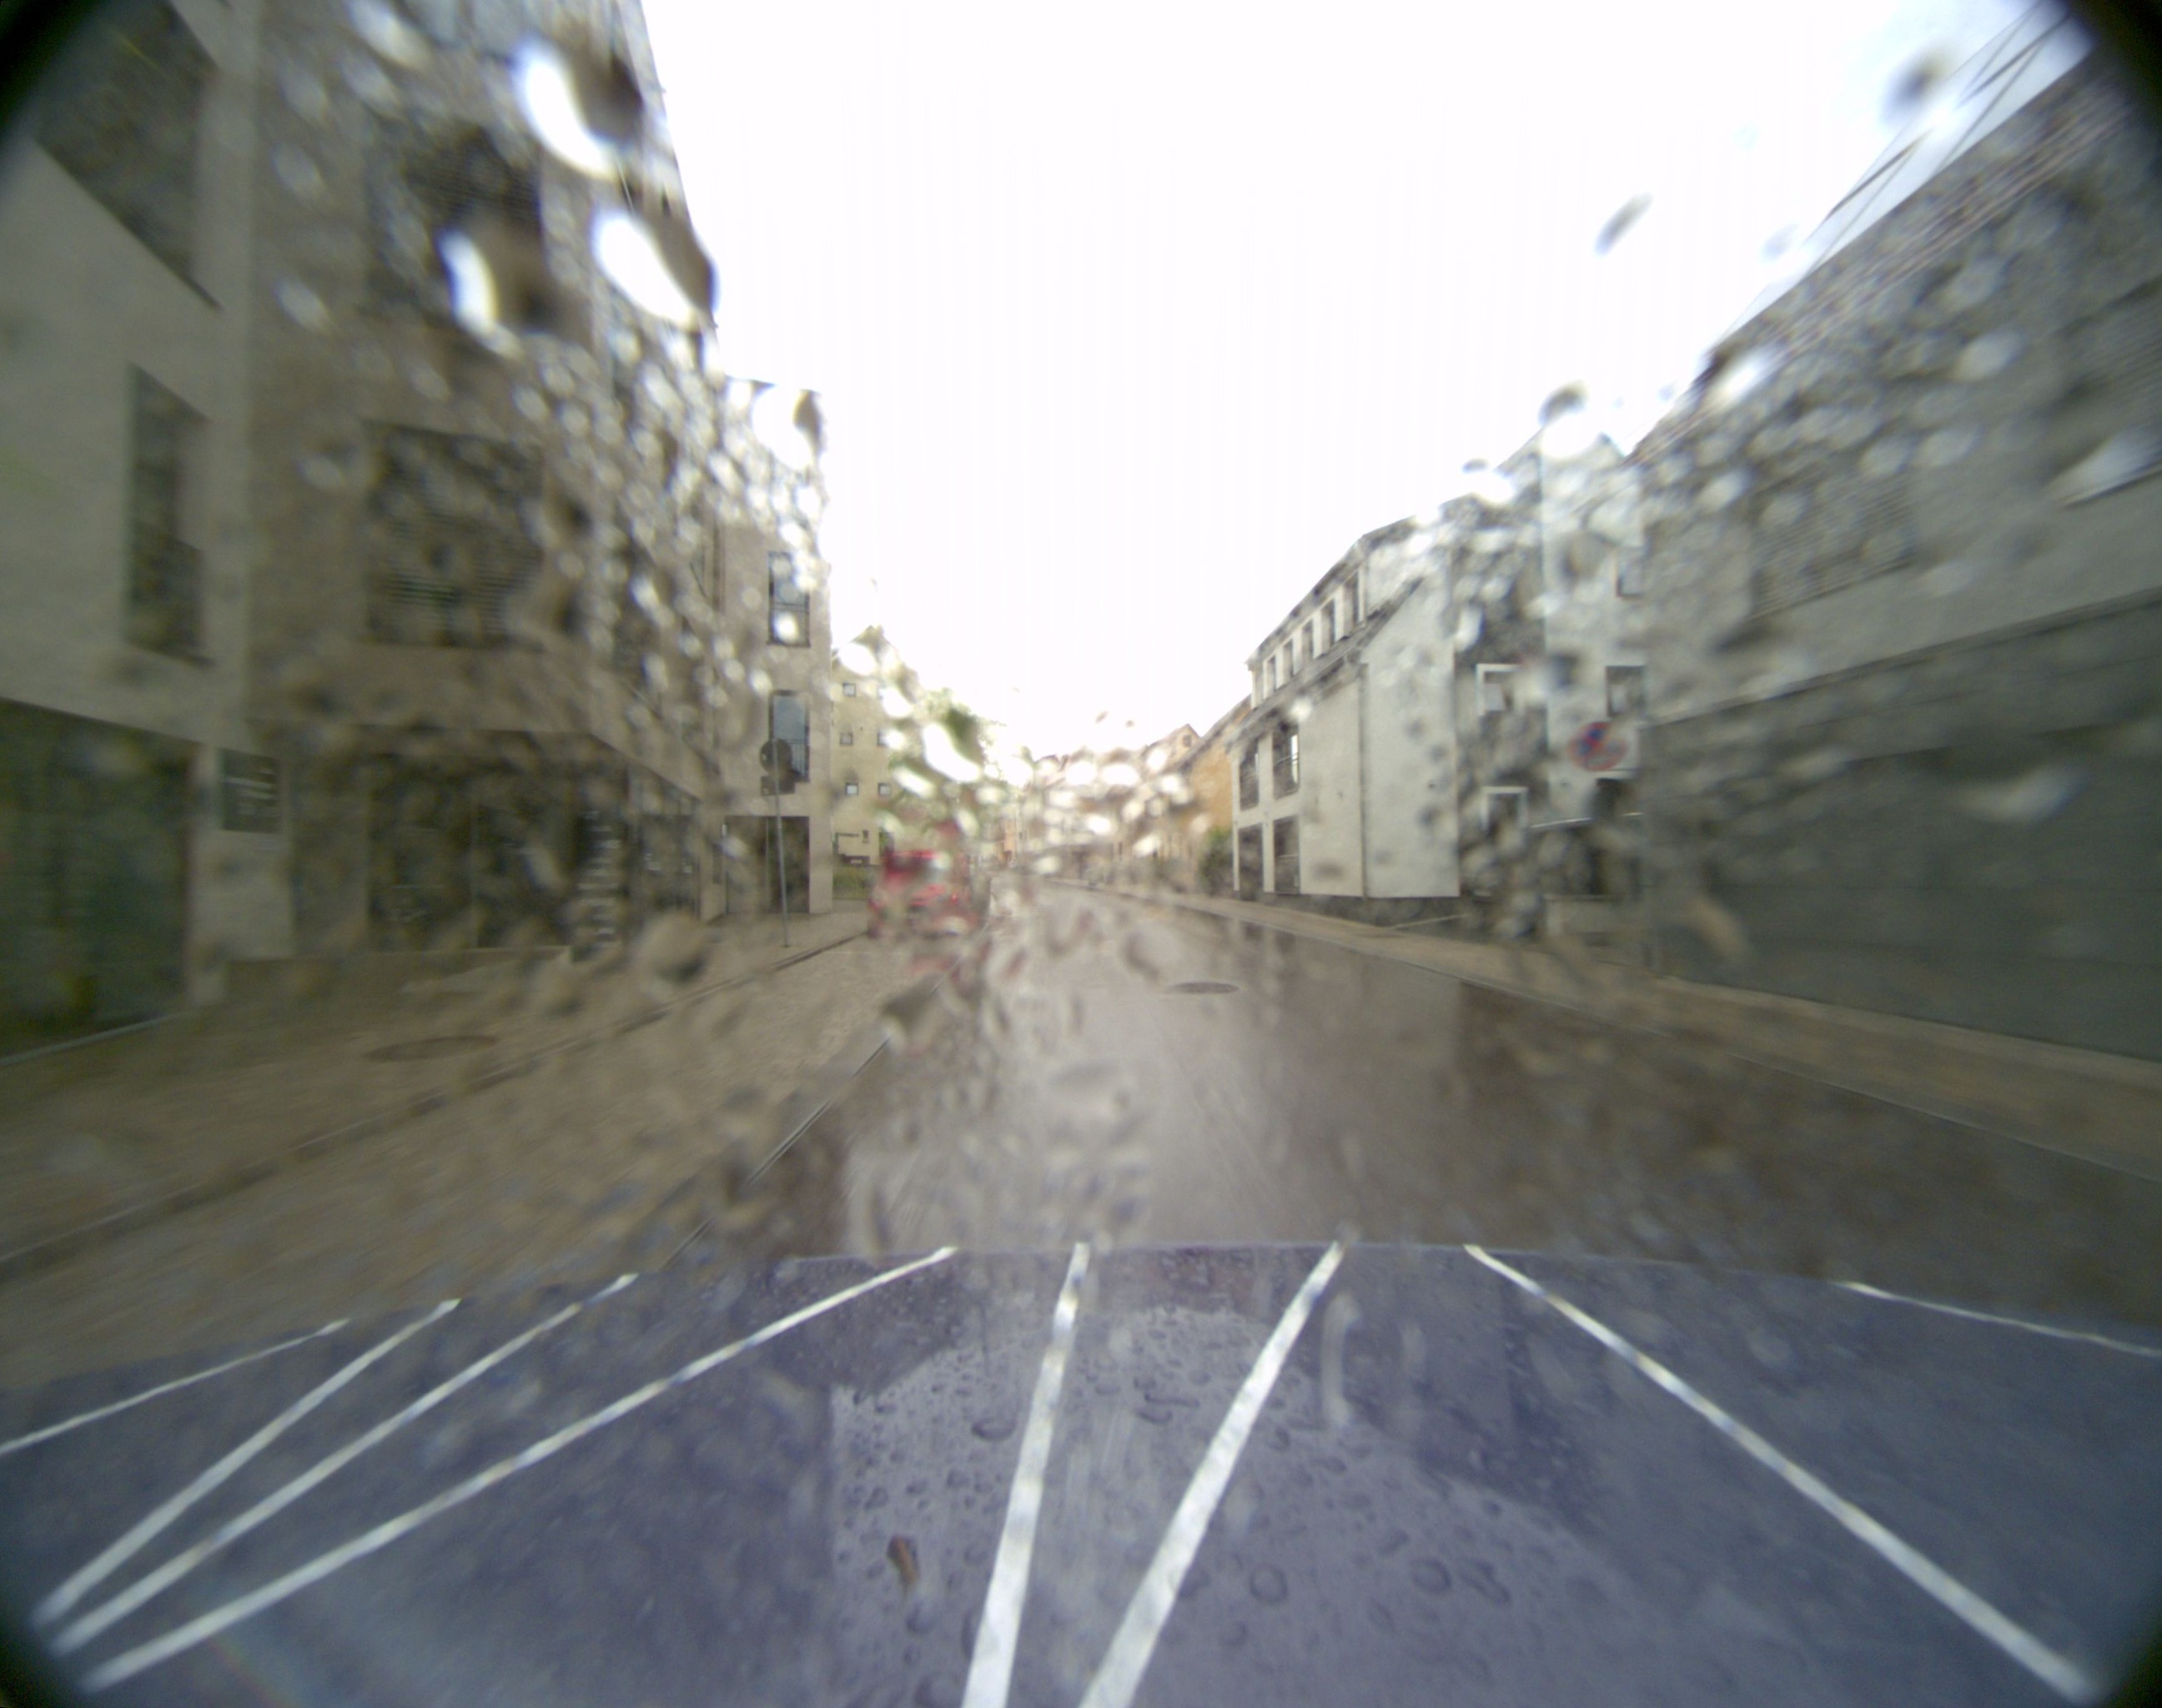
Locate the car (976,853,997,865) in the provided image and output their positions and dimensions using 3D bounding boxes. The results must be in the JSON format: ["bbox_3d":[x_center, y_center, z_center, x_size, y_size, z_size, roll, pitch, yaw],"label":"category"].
[{"bbox_3d":[-11.904,0.654,95.653,2.001,1.437,3.993,-2,1,-17],"label":"car"}]

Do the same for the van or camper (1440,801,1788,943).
[{"bbox_3d":[9.731,0.291,14.155,5.038,1.922,1.999,-6,1,-3],"label":"van or camper"}]

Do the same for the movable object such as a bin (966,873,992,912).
[{"bbox_3d":[-2.962,1.114,22.155,0.711,1.081,0.601,0,0,-4],"label":"movable object such as a bin"}]

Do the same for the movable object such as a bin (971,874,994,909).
[{"bbox_3d":[-3.127,1.196,24.160,0.704,1.081,0.515,0,0,-7],"label":"movable object such as a bin"}]

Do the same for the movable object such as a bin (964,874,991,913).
[{"bbox_3d":[-2.917,1.117,21.510,0.711,1.081,0.601,0,0,-4],"label":"movable object such as a bin"}]

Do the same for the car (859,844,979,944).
[{"bbox_3d":[-3.441,0.754,16.994,1.840,1.896,4.602,1,1,-2],"label":"car"}]

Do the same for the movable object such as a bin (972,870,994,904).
[{"bbox_3d":[-3.264,1.095,25.338,0.711,1.081,0.601,0,0,-7],"label":"movable object such as a bin"}]

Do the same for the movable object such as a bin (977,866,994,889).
[{"bbox_3d":[-4.750,1.169,37.819,0.763,1.102,0.809,2,1,-8],"label":"movable object such as a bin"}]

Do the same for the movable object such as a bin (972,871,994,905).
[{"bbox_3d":[-3.192,1.099,24.723,0.711,1.081,0.601,0,0,-7],"label":"movable object such as a bin"}]

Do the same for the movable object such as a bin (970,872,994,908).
[{"bbox_3d":[-3.065,1.105,23.587,0.711,1.081,0.601,0,0,-7],"label":"movable object such as a bin"}]

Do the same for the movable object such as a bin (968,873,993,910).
[{"bbox_3d":[-3.005,1.113,22.755,0.711,1.081,0.601,0,0,-4],"label":"movable object such as a bin"}]

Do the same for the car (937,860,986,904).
[{"bbox_3d":[-4.569,1.023,29.496,1.643,1.516,3.632,0,1,-5],"label":"car"}]

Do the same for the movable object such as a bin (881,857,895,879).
[{"bbox_3d":[-10.753,0.769,42.274,0.586,1.178,0.719,2,1,-24],"label":"movable object such as a bin"}]

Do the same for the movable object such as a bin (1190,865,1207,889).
[{"bbox_3d":[5.530,1.083,35.834,0.659,1.102,0.721,2,1,-1],"label":"movable object such as a bin"}]

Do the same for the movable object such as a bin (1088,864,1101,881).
[{"bbox_3d":[0.884,1.162,48.863,0.715,1.053,0.575,-1,1,-8],"label":"movable object such as a bin"}]

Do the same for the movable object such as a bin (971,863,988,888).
[{"bbox_3d":[-5.223,1.100,39.098,0.798,1.241,1.242,2,1,-8],"label":"movable object such as a bin"}]
